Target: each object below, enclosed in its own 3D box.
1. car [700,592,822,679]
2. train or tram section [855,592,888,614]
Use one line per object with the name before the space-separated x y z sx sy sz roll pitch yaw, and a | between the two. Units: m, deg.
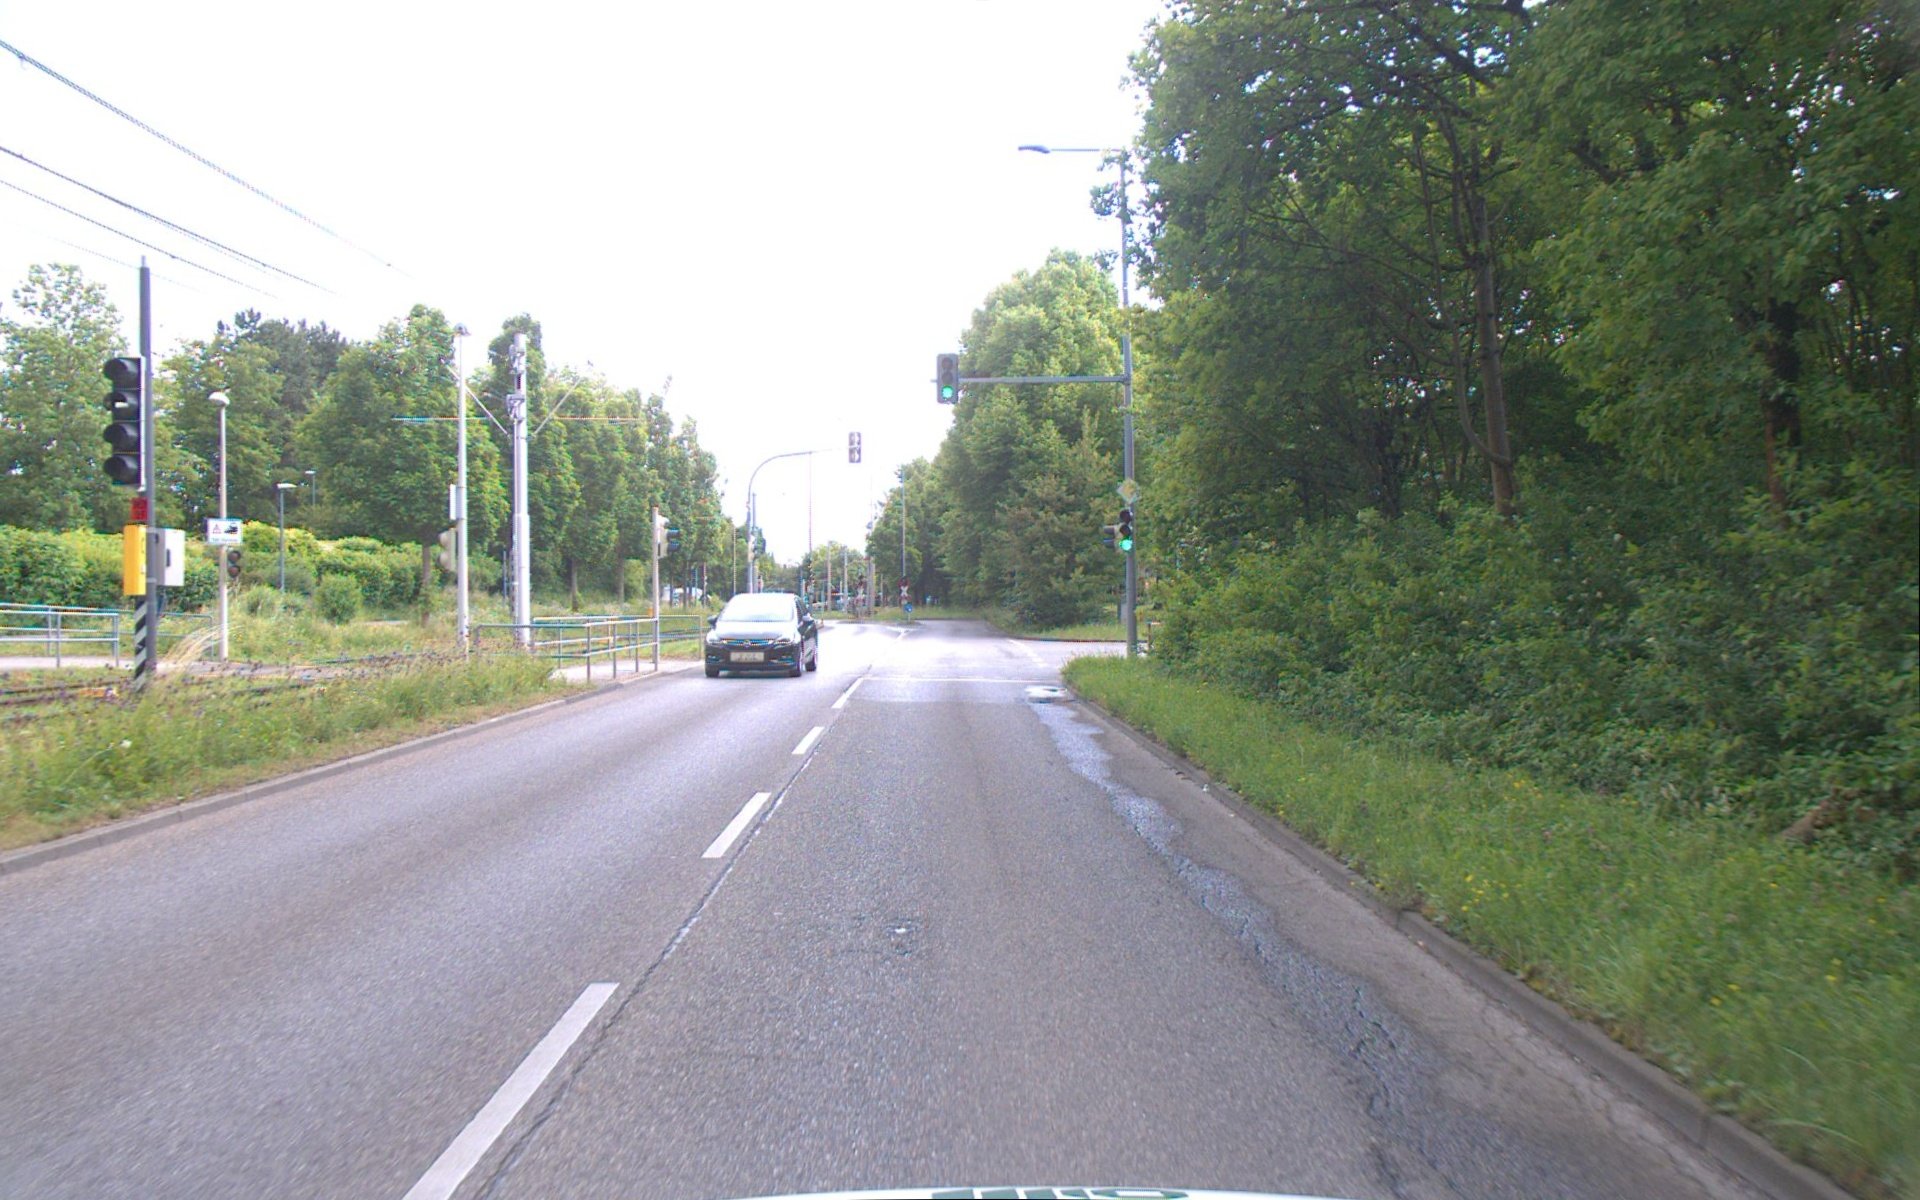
car | -3.637 0.606 30.909 1.812 1.496 4.255 1 0 -1
train or tram section | -14.417 0.584 265.831 2.950 3.369 34.654 0 -1 -7
